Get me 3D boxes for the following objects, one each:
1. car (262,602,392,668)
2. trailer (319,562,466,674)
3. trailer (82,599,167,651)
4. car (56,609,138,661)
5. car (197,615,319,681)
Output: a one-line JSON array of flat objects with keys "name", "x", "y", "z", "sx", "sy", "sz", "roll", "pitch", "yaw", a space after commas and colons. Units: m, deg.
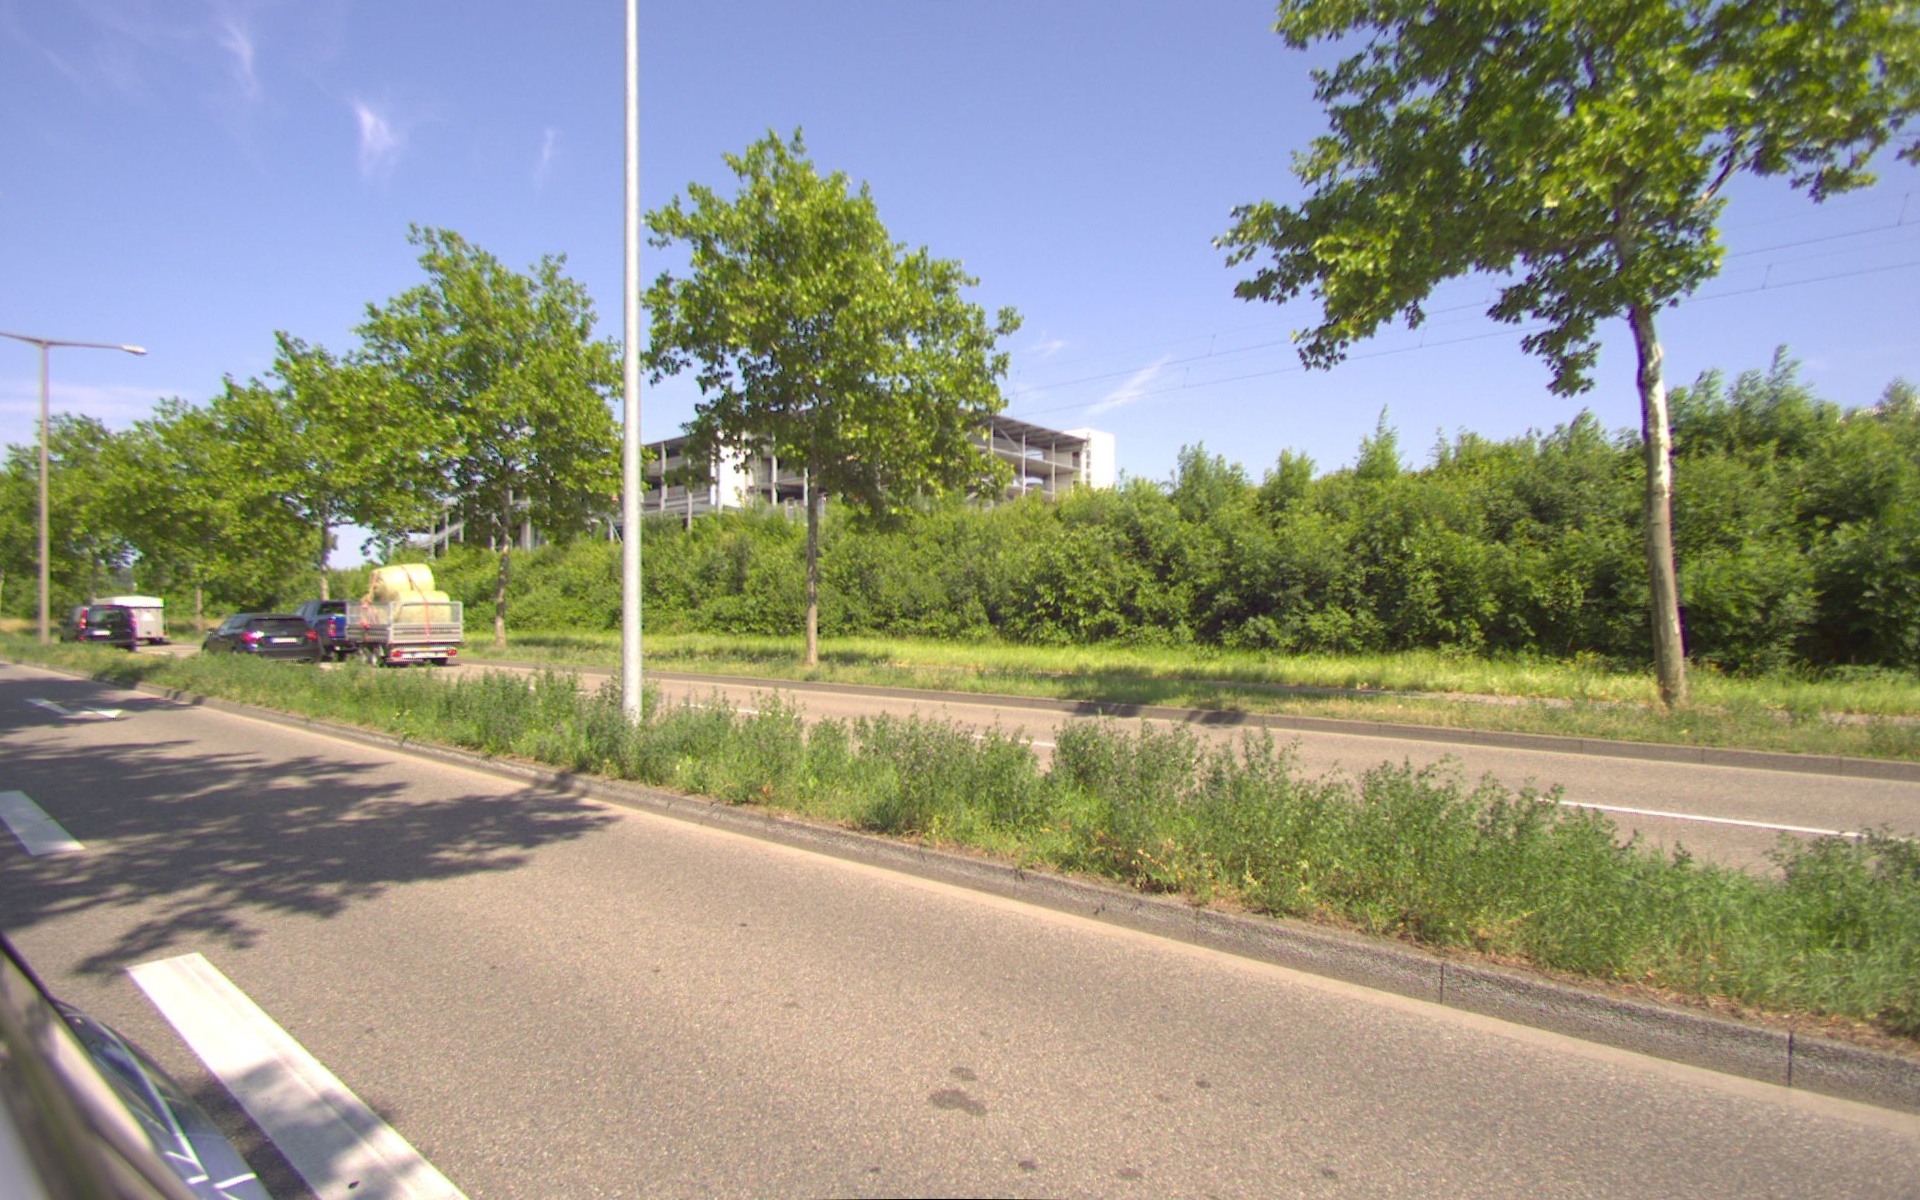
[{"name": "car", "x": -19.144, "y": 0.995, "z": 30.492, "sx": 5.372, "sy": 1.803, "sz": 1.746, "roll": -1, "pitch": 0, "yaw": 40}, {"name": "trailer", "x": -15.333, "y": 0.448, "z": 27.251, "sx": 4.825, "sy": 2.764, "sz": 1.861, "roll": -1, "pitch": 0, "yaw": 40}, {"name": "trailer", "x": -38.807, "y": 1.118, "z": 46.959, "sx": 5.537, "sy": 2.282, "sz": 2.284, "roll": -1, "pitch": -1, "yaw": 42}, {"name": "car", "x": -32.805, "y": 1.274, "z": 38.443, "sx": 4.229, "sy": 1.823, "sz": 1.713, "roll": -1, "pitch": 0, "yaw": 40}, {"name": "car", "x": -17.469, "y": 1.134, "z": 25.136, "sx": 3.787, "sy": 1.483, "sz": 1.586, "roll": -1, "pitch": 0, "yaw": 40}]
